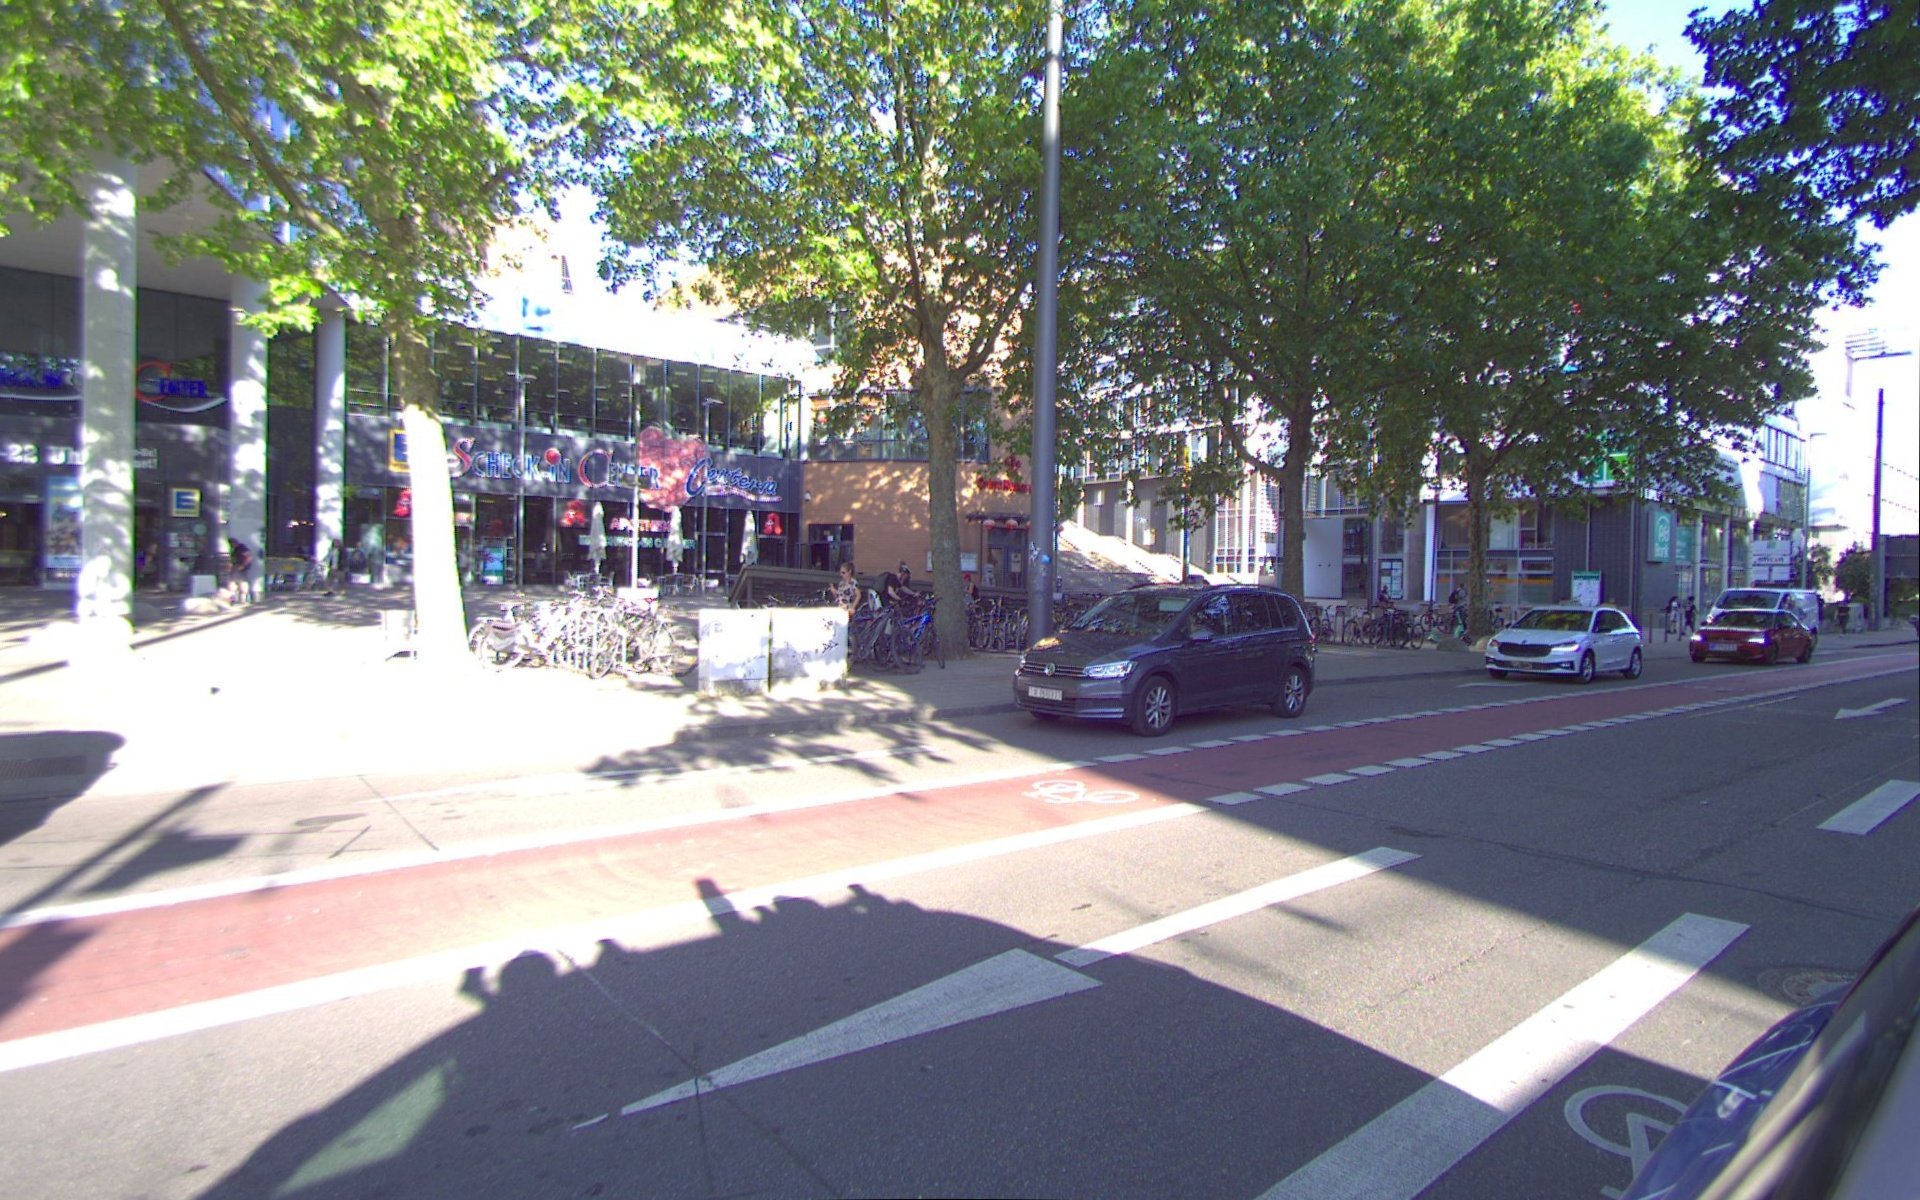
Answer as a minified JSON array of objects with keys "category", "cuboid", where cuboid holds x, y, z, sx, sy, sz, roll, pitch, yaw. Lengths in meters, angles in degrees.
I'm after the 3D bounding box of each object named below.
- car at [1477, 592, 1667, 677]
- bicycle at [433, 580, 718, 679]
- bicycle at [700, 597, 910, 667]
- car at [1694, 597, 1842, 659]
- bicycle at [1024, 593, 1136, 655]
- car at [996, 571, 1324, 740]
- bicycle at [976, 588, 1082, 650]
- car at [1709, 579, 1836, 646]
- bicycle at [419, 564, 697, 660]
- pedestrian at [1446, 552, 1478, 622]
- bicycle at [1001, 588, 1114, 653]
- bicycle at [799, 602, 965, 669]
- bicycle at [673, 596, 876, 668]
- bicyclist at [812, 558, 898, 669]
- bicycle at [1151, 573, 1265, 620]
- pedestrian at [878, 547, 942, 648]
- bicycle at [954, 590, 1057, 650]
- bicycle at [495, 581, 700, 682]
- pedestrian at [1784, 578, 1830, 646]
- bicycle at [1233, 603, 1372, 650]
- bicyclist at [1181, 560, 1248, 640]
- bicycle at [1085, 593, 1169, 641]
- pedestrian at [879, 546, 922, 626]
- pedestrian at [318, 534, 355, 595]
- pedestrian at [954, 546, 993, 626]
[{"category":"car","cuboid":[12.174,0.619,20.060,4.117,1.508,1.836,0,0,-37]},{"category":"bicycle","cuboid":[-5.426,0.370,14.558,3.744,1.236,0.758,-2,0,-35]},{"category":"bicycle","cuboid":[-2.462,0.466,16.539,3.352,1.014,1.050,-1,0,-41]},{"category":"car","cuboid":[21.005,0.680,26.290,4.114,1.508,1.837,0,-1,-34]},{"category":"bicycle","cuboid":[2.276,0.423,18.989,2.295,1.073,0.682,-1,1,-39]},{"category":"car","cuboid":[2.526,0.532,12.042,4.319,1.656,1.707,0,0,-45]},{"category":"bicycle","cuboid":[1.409,0.357,20.306,2.263,1.177,0.671,-1,0,-38]},{"category":"car","cuboid":[26.260,0.354,32.611,5.810,1.989,1.933,0,0,-38]},{"category":"bicycle","cuboid":[-5.897,0.223,15.129,3.743,1.236,0.729,4,-2,-35]},{"category":"pedestrian","cuboid":[19.440,-0.498,39.212,0.967,2.681,0.897,0,0,18]},{"category":"bicycle","cuboid":[1.932,0.368,19.736,2.355,1.177,0.750,-1,0,-40]},{"category":"bicycle","cuboid":[-1.198,0.522,16.055,2.591,0.960,0.924,-1,0,-41]},{"category":"bicycle","cuboid":[-3.127,0.496,17.407,3.352,1.013,1.051,-1,6,-41]},{"category":"bicyclist","cuboid":[-1.626,0.193,15.684,1.005,1.641,0.902,0,0,-41]},{"category":"bicycle","cuboid":[6.477,-0.136,26.715,1.124,1.097,3.342,0,2,-23]},{"category":"pedestrian","cuboid":[-1.033,-0.068,21.119,0.922,2.039,1.085,2,1,24]},{"category":"bicycle","cuboid":[0.968,0.384,20.877,2.251,1.177,0.657,-1,0,-38]},{"category":"bicycle","cuboid":[-4.877,0.379,13.741,2.504,1.236,0.758,-2,1,-35]},{"category":"pedestrian","cuboid":[25.765,0.368,30.792,0.959,2.039,0.816,1,-1,-31]},{"category":"bicycle","cuboid":[8.029,0.598,23.712,3.136,1.038,0.979,0,0,-18]},{"category":"bicyclist","cuboid":[6.637,-0.023,26.424,1.132,2.039,1.301,0,1,-24]},{"category":"bicycle","cuboid":[4.501,0.425,27.113,2.653,1.215,0.698,-1,1,-41]},{"category":"pedestrian","cuboid":[-1.720,-0.405,29.263,1.195,2.276,1.052,0,0,-3]},{"category":"pedestrian","cuboid":[-18.404,-1.042,29.885,0.823,1.765,0.645,0,1,-41]},{"category":"pedestrian","cuboid":[0.374,-0.409,29.084,0.884,2.261,0.845,0,0,-19]}]
